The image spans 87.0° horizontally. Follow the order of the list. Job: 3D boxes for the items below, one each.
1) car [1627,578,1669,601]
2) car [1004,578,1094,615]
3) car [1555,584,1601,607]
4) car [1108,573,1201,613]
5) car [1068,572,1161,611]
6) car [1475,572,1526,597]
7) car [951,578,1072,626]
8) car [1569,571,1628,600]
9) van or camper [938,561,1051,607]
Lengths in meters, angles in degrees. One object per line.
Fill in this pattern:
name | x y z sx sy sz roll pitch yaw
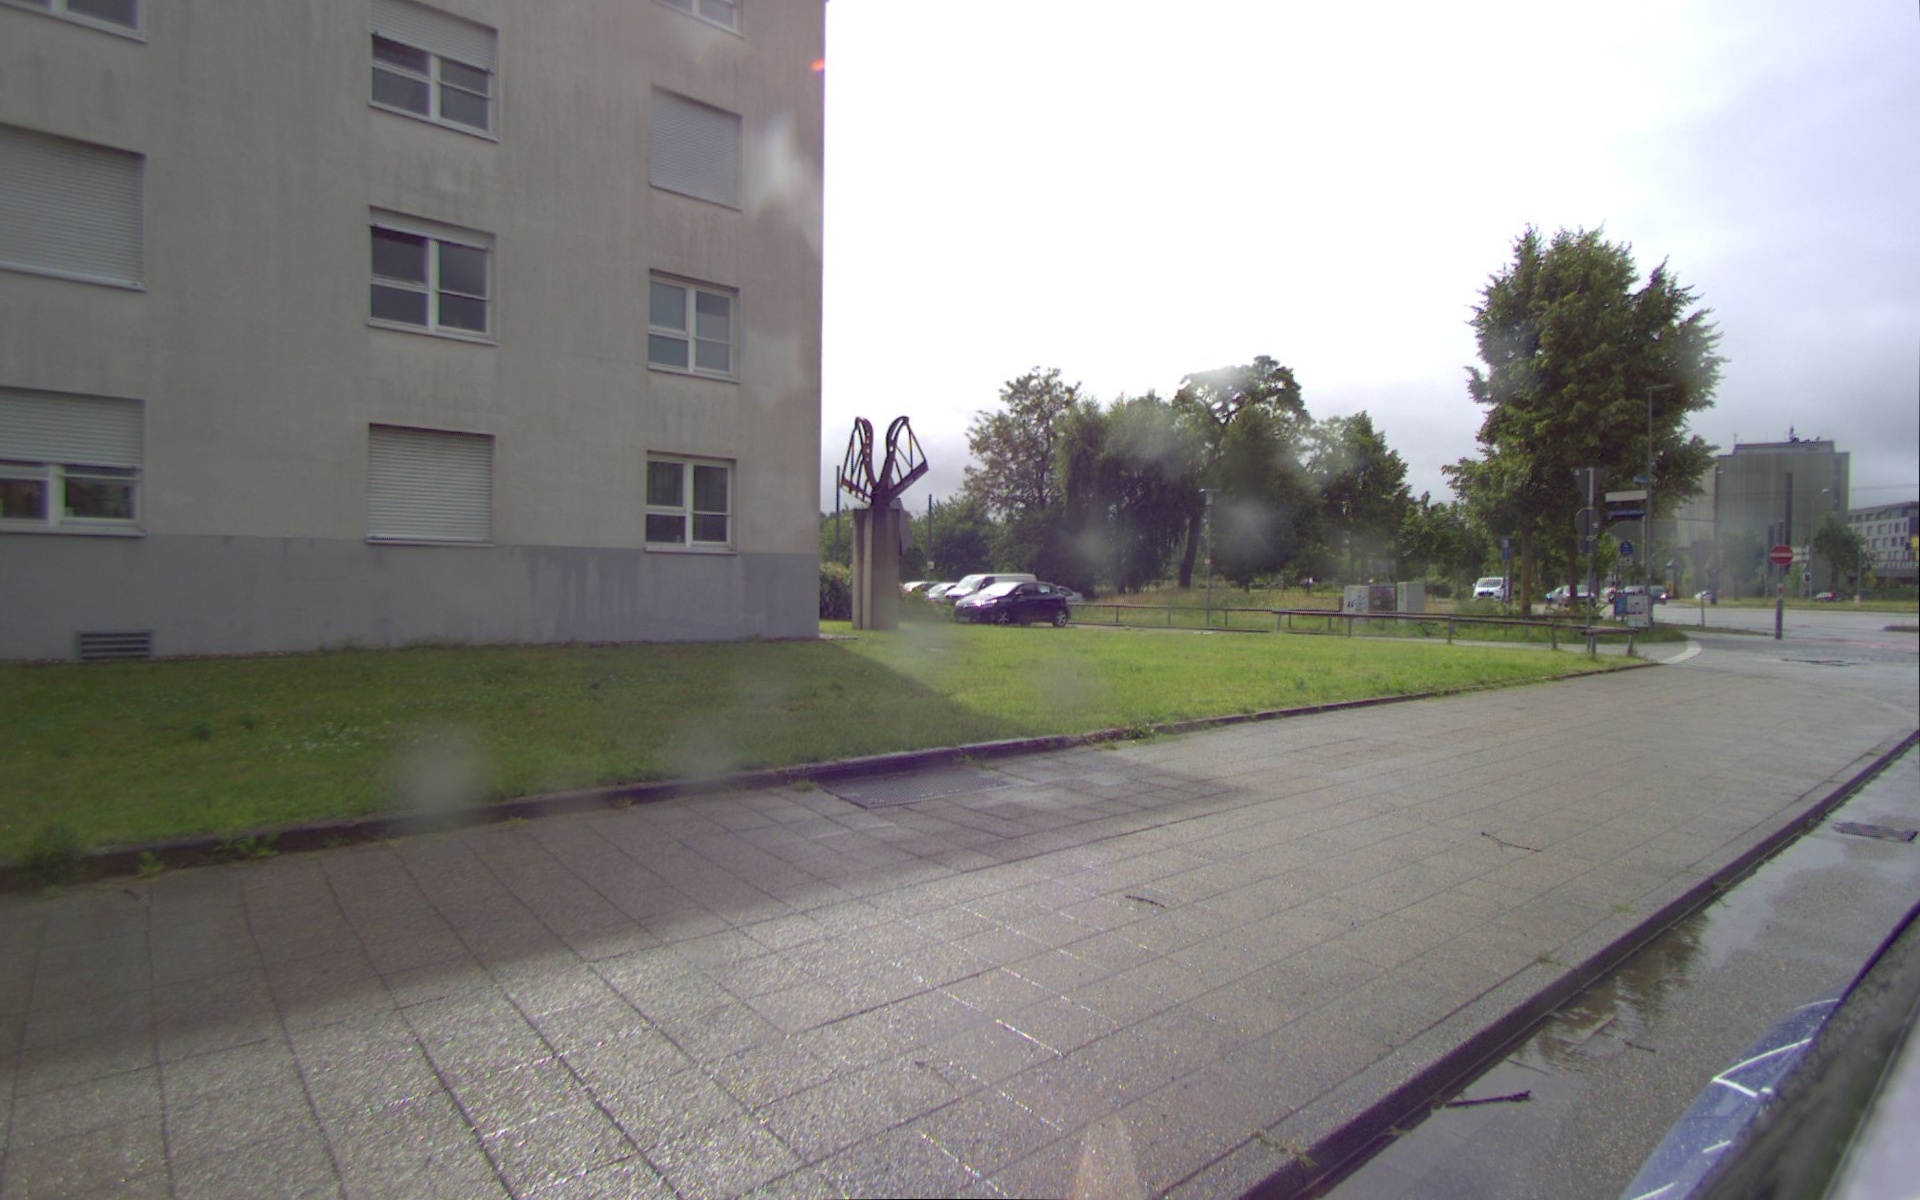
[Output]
car | 55.344 -0.858 81.411 3.930 1.771 1.866 0 1 -41
car | 4.080 -0.163 45.979 3.931 1.568 1.932 0 1 -42
car | 45.214 -0.350 74.036 3.930 1.616 1.768 -1 1 -41
car | 8.100 -0.281 42.075 3.707 1.568 1.932 0 1 -42
car | 6.713 -0.370 43.802 3.931 1.568 1.932 0 1 -42
car | 39.271 -1.115 73.472 4.155 1.735 1.890 0 2 -41
car | 1.613 0.038 30.754 3.809 1.342 1.389 0 1 -42
car | 39.874 -0.886 63.148 4.126 1.710 1.669 0 0 -36
van or camper | 1.731 -0.728 48.978 5.578 2.131 1.997 0 0 -41
